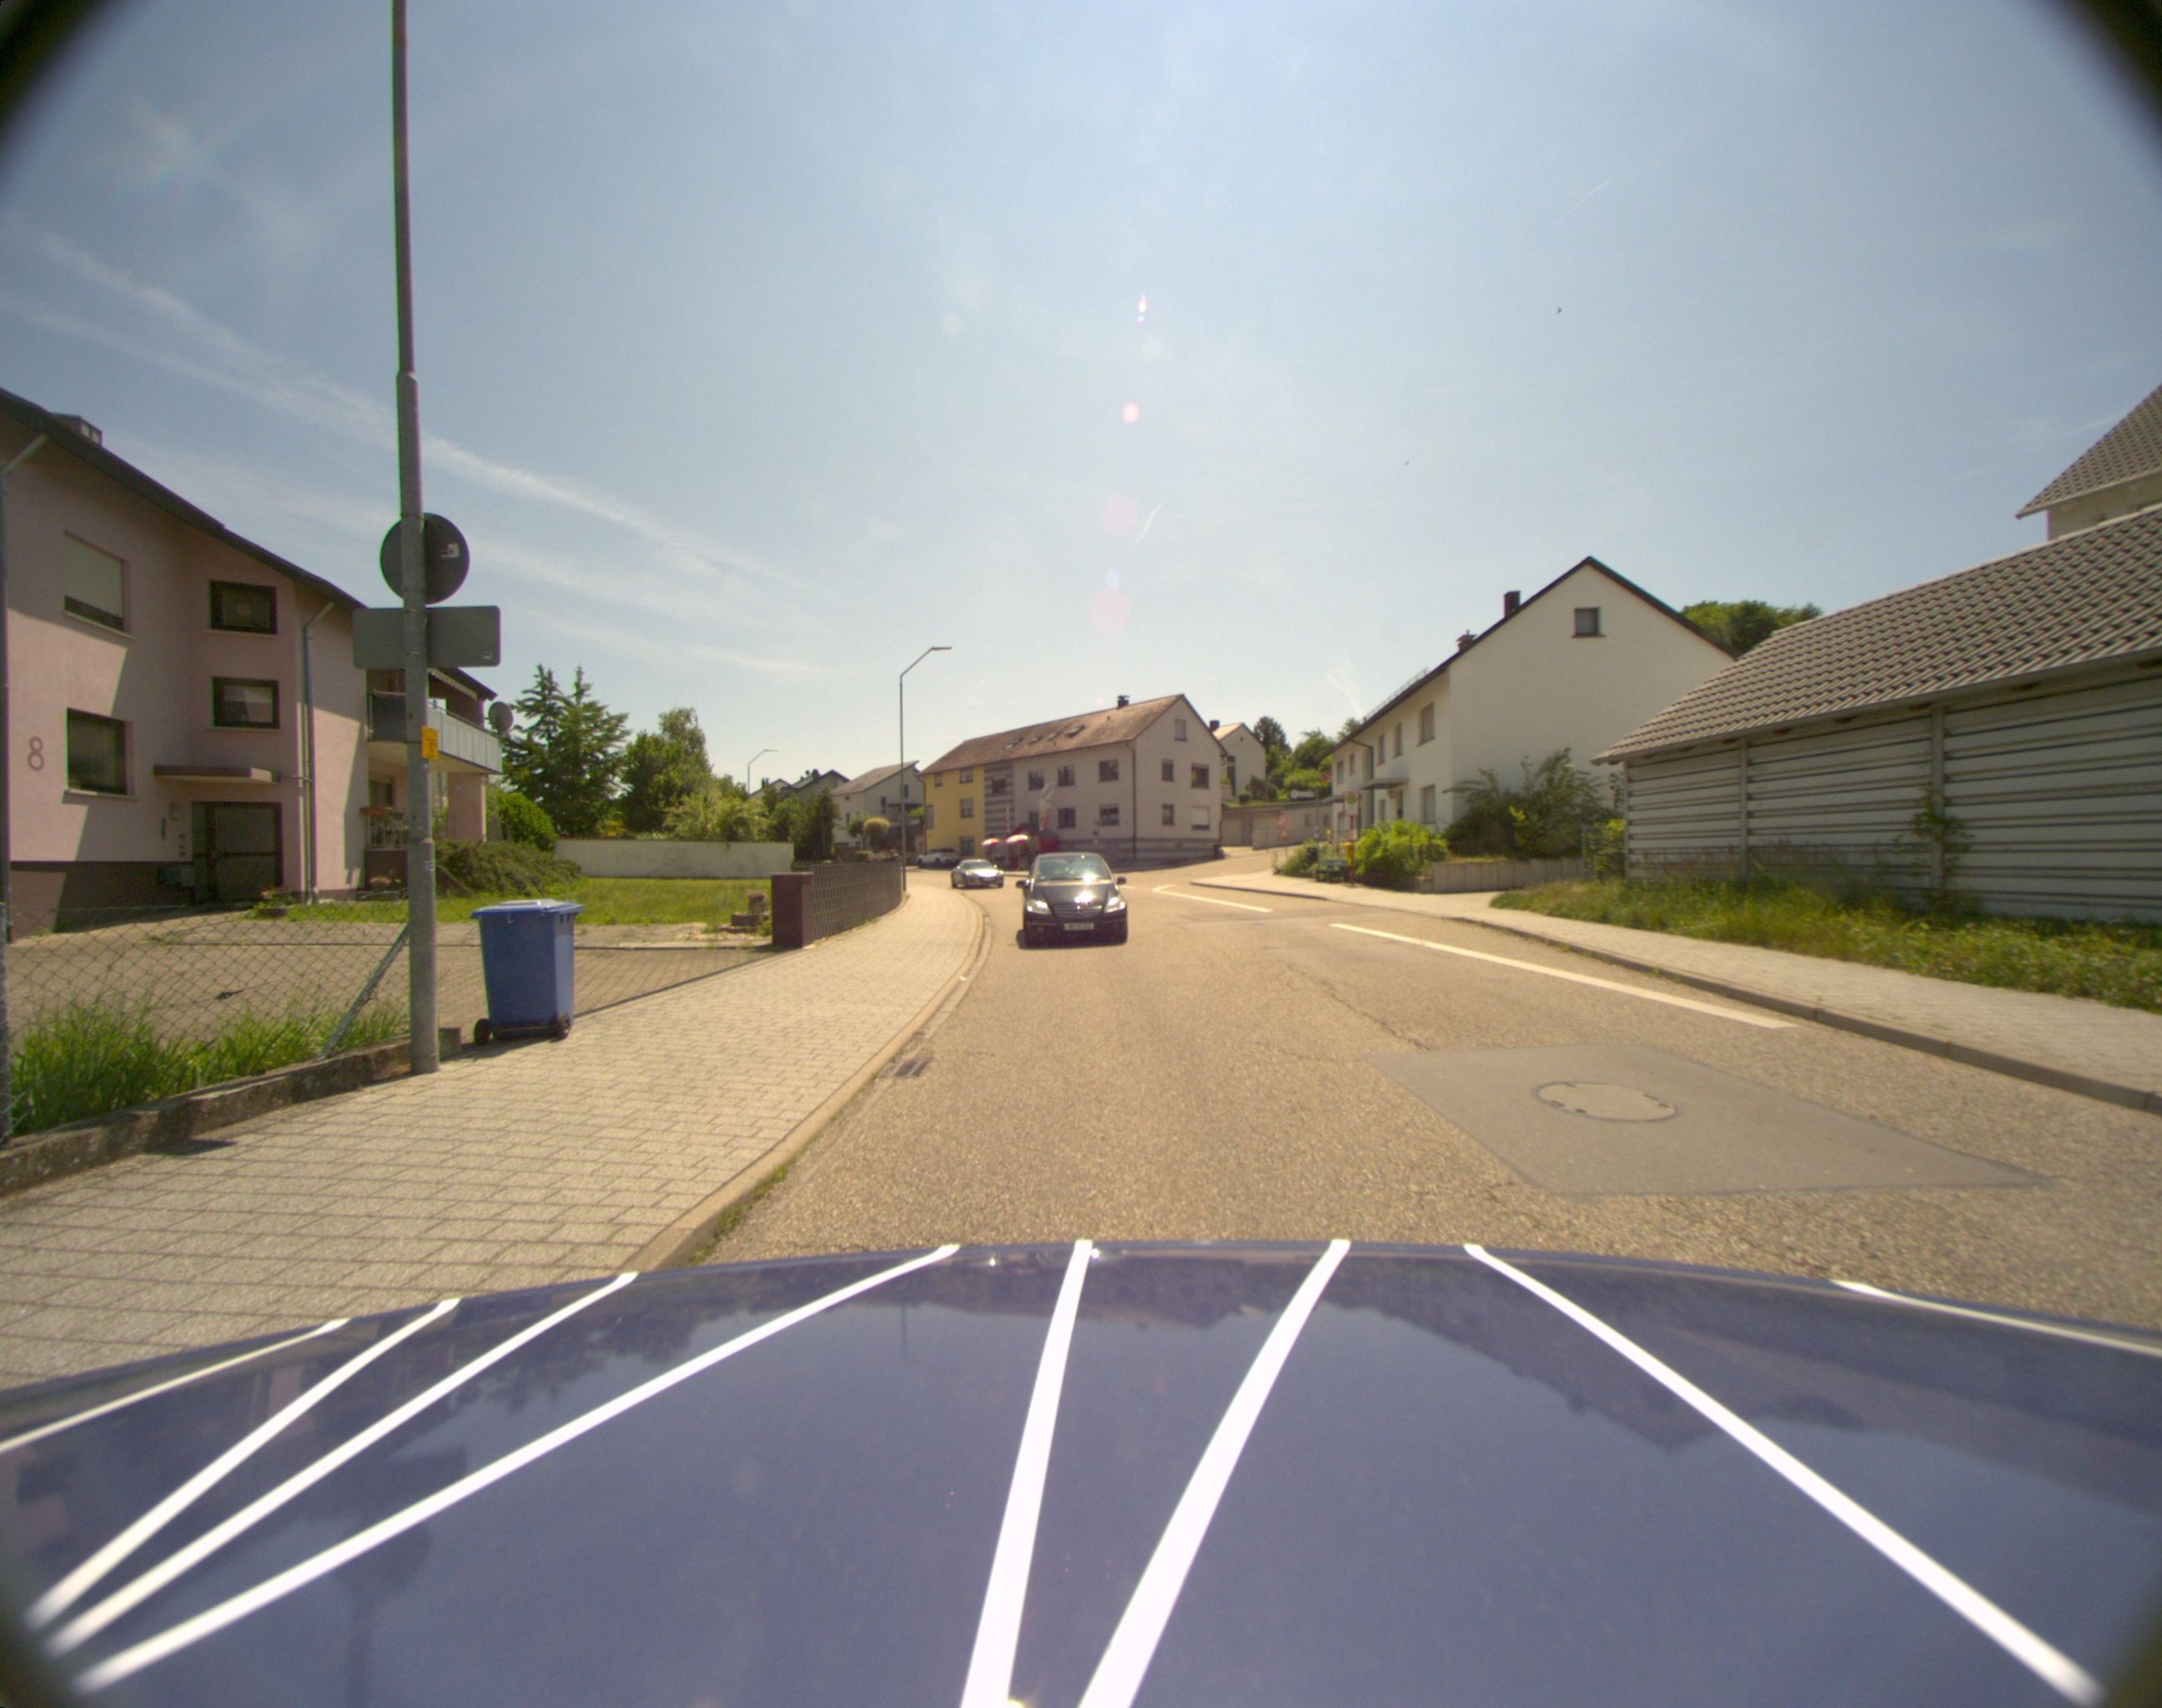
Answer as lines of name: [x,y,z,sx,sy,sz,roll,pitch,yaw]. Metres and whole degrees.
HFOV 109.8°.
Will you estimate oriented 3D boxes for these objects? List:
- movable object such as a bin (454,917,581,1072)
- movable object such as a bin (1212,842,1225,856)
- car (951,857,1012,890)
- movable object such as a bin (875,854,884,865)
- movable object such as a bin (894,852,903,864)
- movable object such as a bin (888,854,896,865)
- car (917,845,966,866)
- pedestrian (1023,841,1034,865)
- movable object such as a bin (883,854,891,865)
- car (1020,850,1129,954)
movable object such as a bin: [-4.318,1.046,5.871,0.567,1.051,0.650,-1,1,-15]
movable object such as a bin: [8.853,-0.316,48.845,0.599,0.929,0.601,0,1,45]
car: [-4.537,0.817,34.098,1.816,1.307,3.992,-2,1,-21]
movable object such as a bin: [-17.378,0.476,65.598,0.503,0.943,0.552,-3,2,-44]
movable object such as a bin: [-16.052,0.371,66.777,0.473,1.049,0.632,-3,3,-44]
movable object such as a bin: [-16.497,0.463,66.448,0.449,0.933,0.529,-2,2,-44]
car: [-10.926,0.123,59.231,1.739,1.543,4.176,-2,2,-43]
pedestrian: [-3.553,-0.096,51.353,0.613,1.578,0.808,-2,1,-10]
movable object such as a bin: [-16.848,0.443,66.068,0.449,0.923,0.560,-3,2,-44]
car: [-0.256,0.782,14.585,1.765,1.583,4.195,-2,1,-4]
